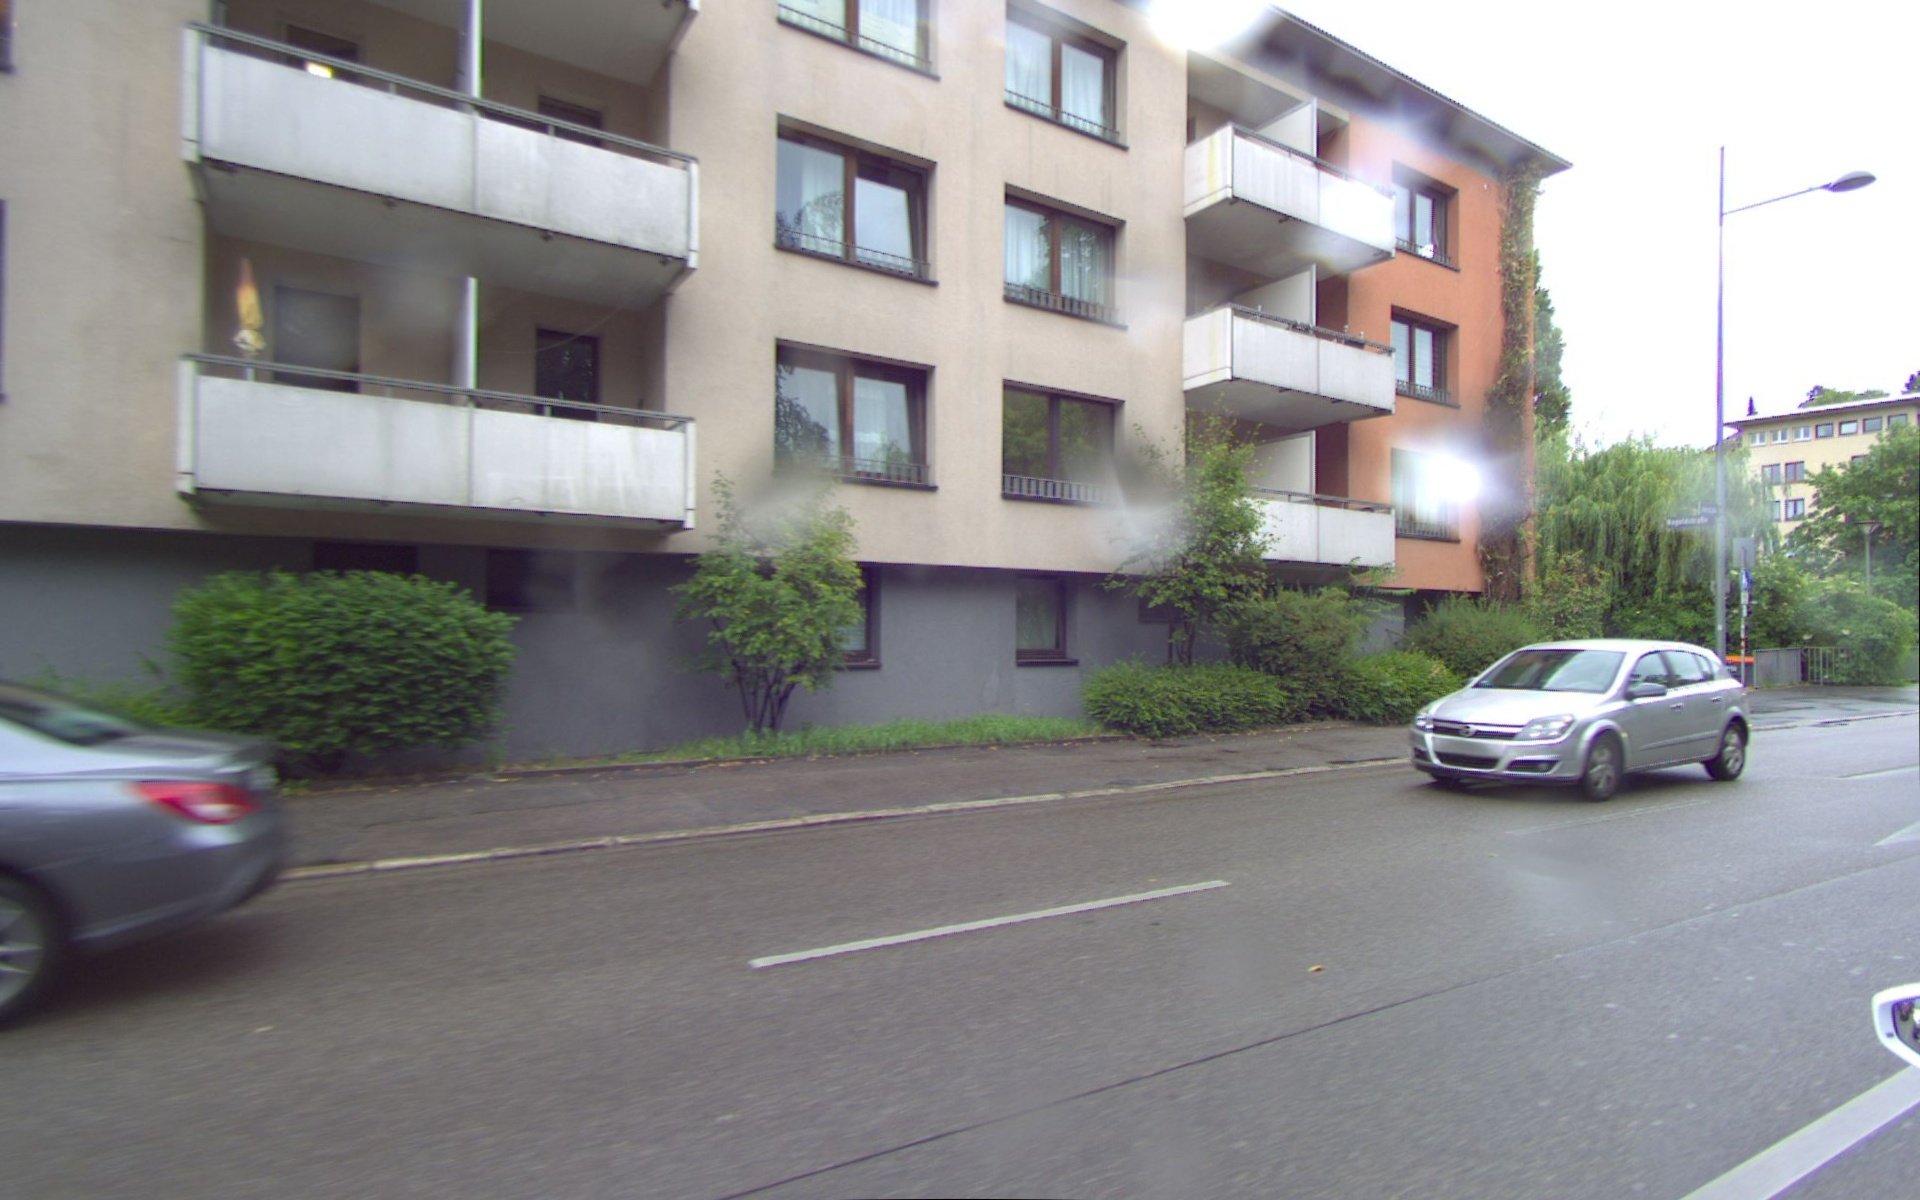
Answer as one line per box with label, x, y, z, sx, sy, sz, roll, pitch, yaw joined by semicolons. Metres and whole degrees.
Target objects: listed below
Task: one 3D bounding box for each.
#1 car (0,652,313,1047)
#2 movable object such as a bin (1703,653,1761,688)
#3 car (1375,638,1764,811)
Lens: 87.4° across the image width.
car;-5.294;0.959;3.800;4.624;1.434;1.806;0;-2;-29
movable object such as a bin;20.403;1.847;26.549;0.823;0.888;0.961;2;-2;-30
car;6.378;1.141;10.435;4.002;1.434;1.804;1;-3;-31
